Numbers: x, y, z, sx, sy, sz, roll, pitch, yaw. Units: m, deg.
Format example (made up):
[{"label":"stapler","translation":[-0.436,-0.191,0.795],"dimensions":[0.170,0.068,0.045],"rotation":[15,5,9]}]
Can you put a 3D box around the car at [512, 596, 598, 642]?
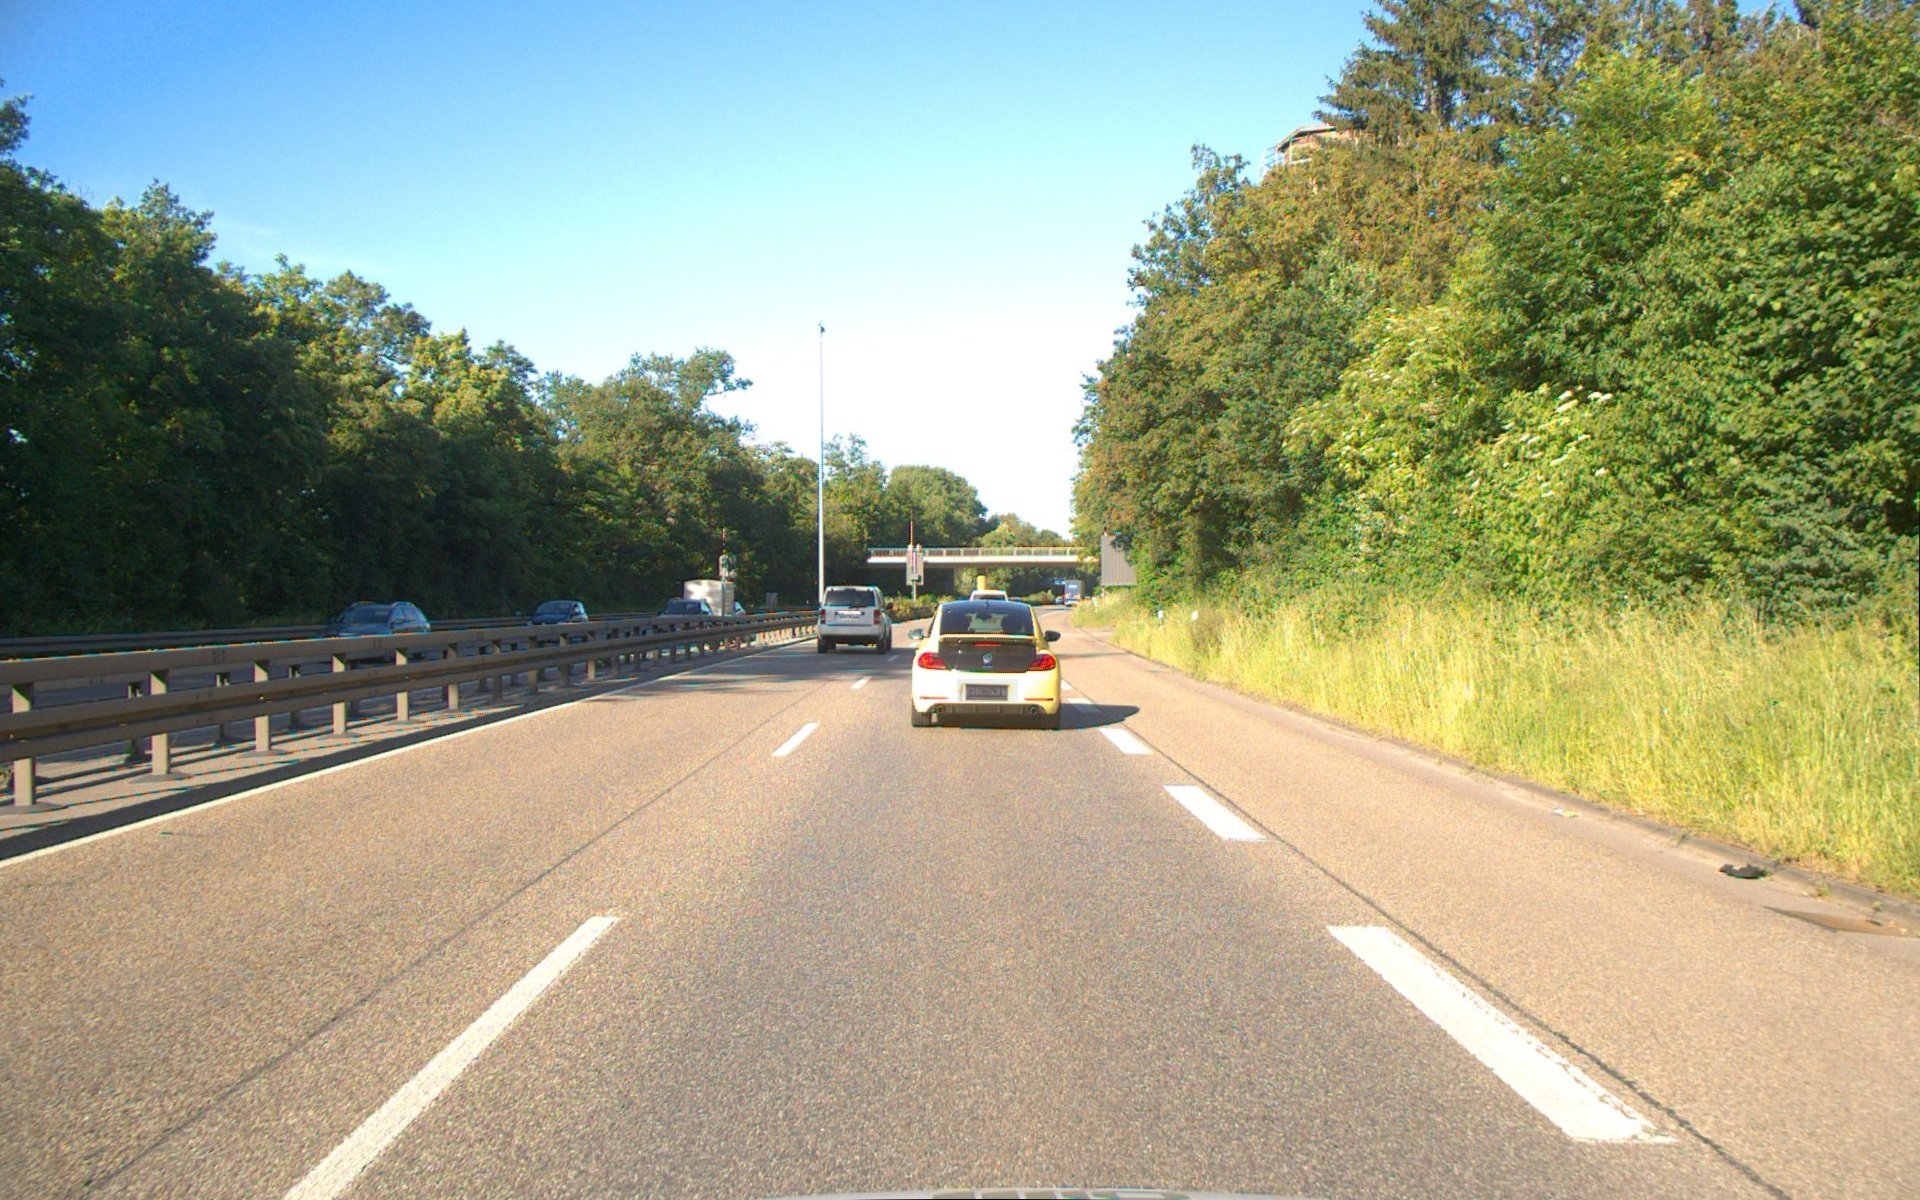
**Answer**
[{"label":"car","translation":[-15.076,0.686,61.891],"dimensions":[2.029,1.642,5.058],"rotation":[0,0,-1]}]

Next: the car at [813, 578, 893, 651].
[{"label":"car","translation":[-2.910,0.378,44.938],"dimensions":[2.044,1.860,3.997],"rotation":[-1,0,-4]}]

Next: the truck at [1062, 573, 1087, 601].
[{"label":"truck","translation":[17.848,-1.924,258.050],"dimensions":[3.421,4.246,8.868],"rotation":[0,0,7]}]

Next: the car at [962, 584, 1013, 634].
[{"label":"car","translation":[0.996,0.327,61.994],"dimensions":[1.825,1.801,4.469],"rotation":[-1,0,0]}]

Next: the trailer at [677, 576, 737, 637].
[{"label":"trailer","translation":[-10.575,0.250,69.373],"dimensions":[1.953,2.480,4.605],"rotation":[-1,0,-2]}]

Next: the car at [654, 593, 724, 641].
[{"label":"car","translation":[-10.505,0.627,64.423],"dimensions":[2.029,1.779,5.222],"rotation":[-1,0,-2]}]

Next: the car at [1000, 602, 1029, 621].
[{"label":"car","translation":[4.243,0.885,127.650],"dimensions":[1.951,1.422,4.003],"rotation":[0,0,6]}]

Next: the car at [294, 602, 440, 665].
[{"label":"car","translation":[-15.324,0.824,43.038],"dimensions":[2.029,1.493,4.985],"rotation":[0,0,-1]}]

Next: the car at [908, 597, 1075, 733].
[{"label":"car","translation":[0.293,0.726,20.749],"dimensions":[1.841,1.487,4.354],"rotation":[1,0,-2]}]

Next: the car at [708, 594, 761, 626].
[{"label":"car","translation":[-12.864,0.530,94.582],"dimensions":[2.076,1.755,5.877],"rotation":[1,0,1]}]
